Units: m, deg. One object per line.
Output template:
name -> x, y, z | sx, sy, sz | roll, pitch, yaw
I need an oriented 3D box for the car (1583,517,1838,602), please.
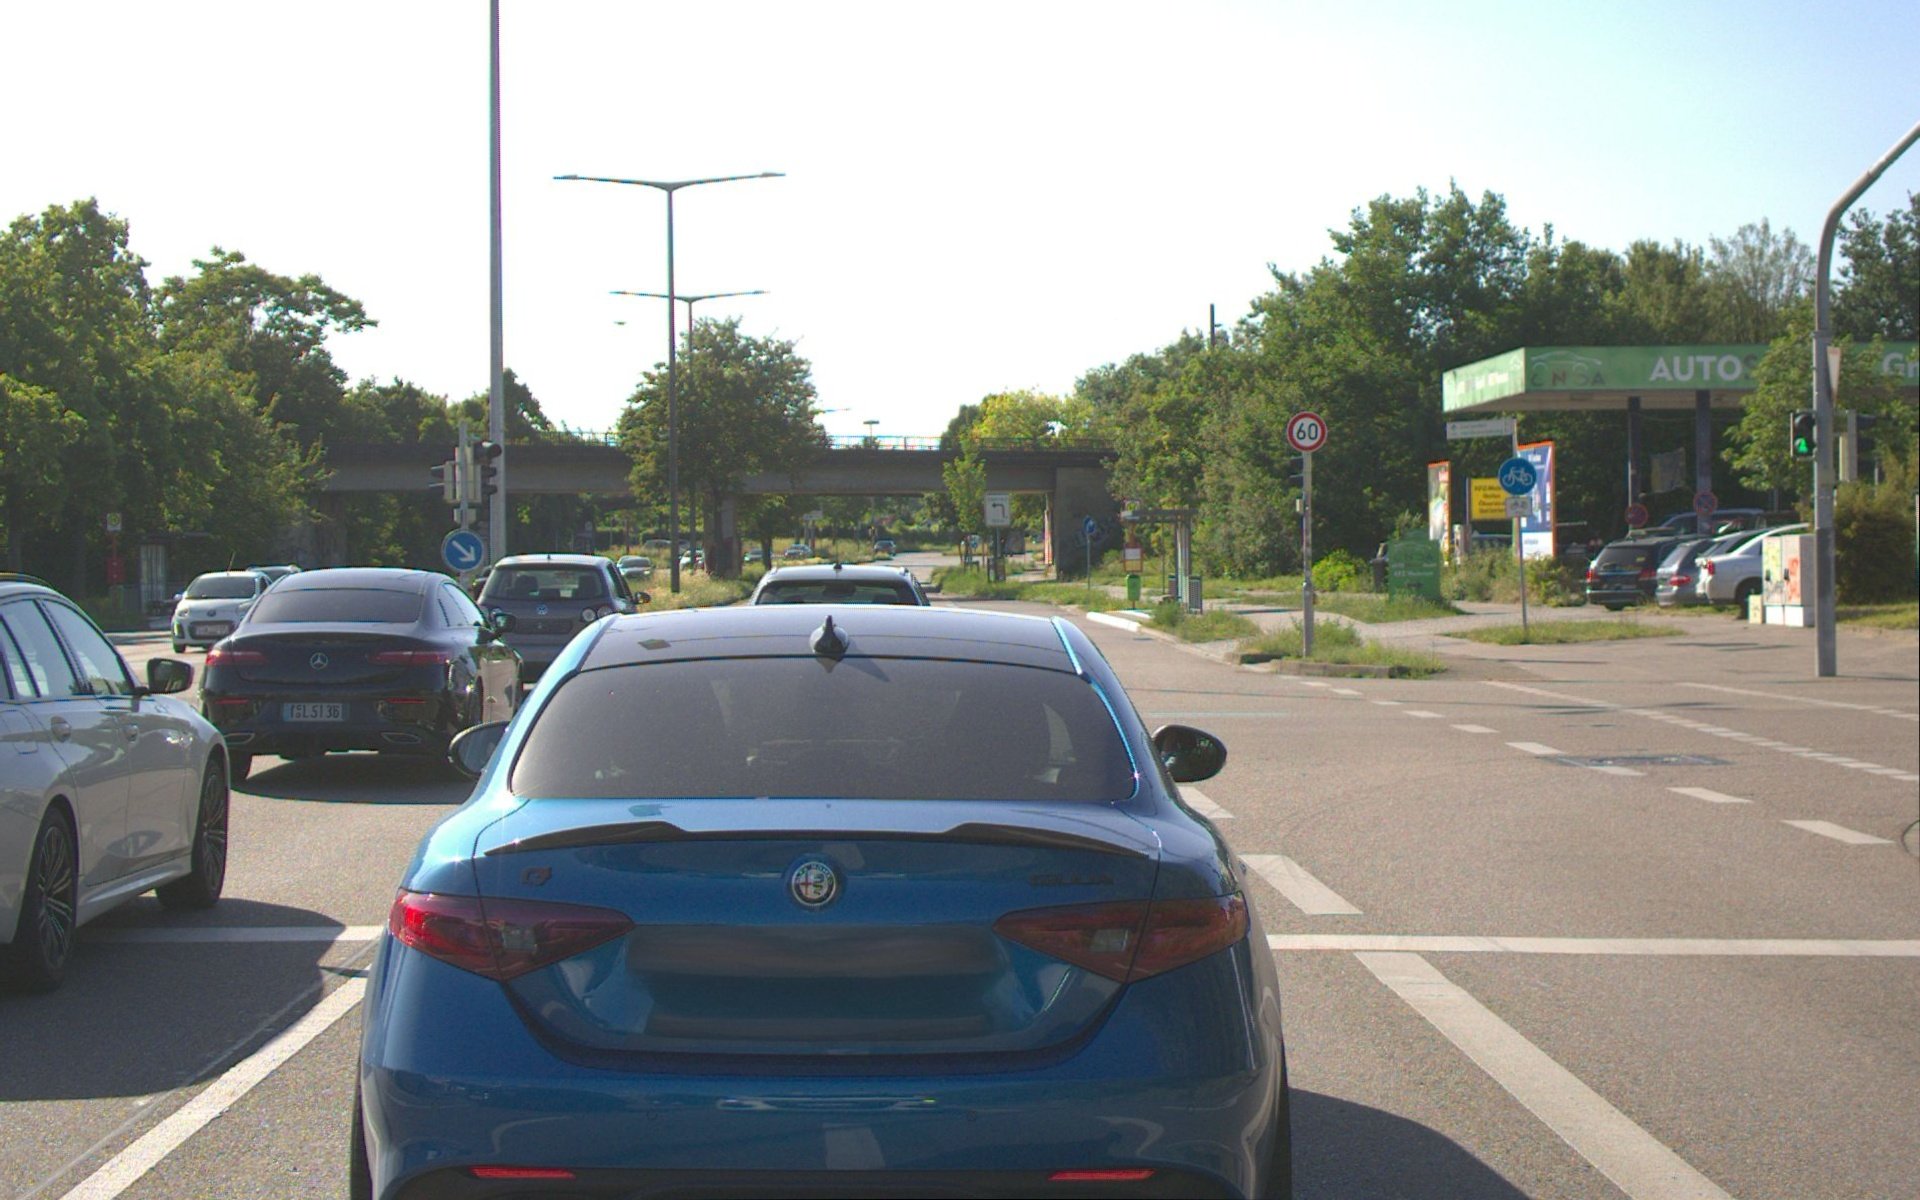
car -> 14.500, -0.780, 66.592 | 4.489, 1.449, 1.858 | -2, 0, 1

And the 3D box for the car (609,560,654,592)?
car -> -16.104, -1.177, 168.852 | 1.759, 1.485, 4.478 | -2, 0, -1

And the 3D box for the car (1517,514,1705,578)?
car -> 16.976, -1.409, 89.800 | 4.551, 1.485, 1.765 | -2, 0, 1

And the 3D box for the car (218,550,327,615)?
car -> -18.147, -0.475, 90.982 | 1.988, 1.624, 4.478 | -2, 0, -1

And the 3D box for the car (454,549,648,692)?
car -> -4.525, 0.208, 38.554 | 1.759, 1.485, 4.403 | 1, 0, -2

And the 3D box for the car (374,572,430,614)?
car -> -21.150, -0.261, 130.413 | 1.615, 1.554, 3.358 | 1, 0, -1

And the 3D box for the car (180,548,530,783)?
car -> -4.165, 0.417, 24.327 | 1.796, 1.485, 4.476 | 1, 0, -2

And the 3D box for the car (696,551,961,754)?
car -> -1.000, 0.365, 26.545 | 1.850, 1.413, 4.403 | 1, 0, -2

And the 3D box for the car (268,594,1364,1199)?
car -> -0.320, 0.710, 8.200 | 1.895, 1.413, 4.403 | 1, 0, -2

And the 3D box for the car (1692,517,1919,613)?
car -> 14.642, -0.603, 57.250 | 4.489, 1.449, 1.858 | -2, 0, 1

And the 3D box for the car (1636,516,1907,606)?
car -> 14.807, -0.701, 62.899 | 4.489, 1.449, 1.858 | -2, 0, 1

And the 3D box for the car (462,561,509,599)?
car -> -20.903, -0.894, 151.647 | 1.609, 1.641, 3.463 | 1, 0, -1

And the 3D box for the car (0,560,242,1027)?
car -> -3.998, 0.597, 12.931 | 1.785, 1.485, 4.403 | 1, 0, -2

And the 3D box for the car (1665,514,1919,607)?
car -> 14.742, -0.691, 59.912 | 4.489, 1.449, 1.858 | -2, 0, 1

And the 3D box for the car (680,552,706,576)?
car -> -18.868, -2.529, 243.275 | 1.571, 1.612, 4.000 | 1, 0, -1

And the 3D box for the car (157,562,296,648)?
car -> -13.639, 0.070, 64.087 | 1.759, 1.485, 3.837 | -2, 0, -1
